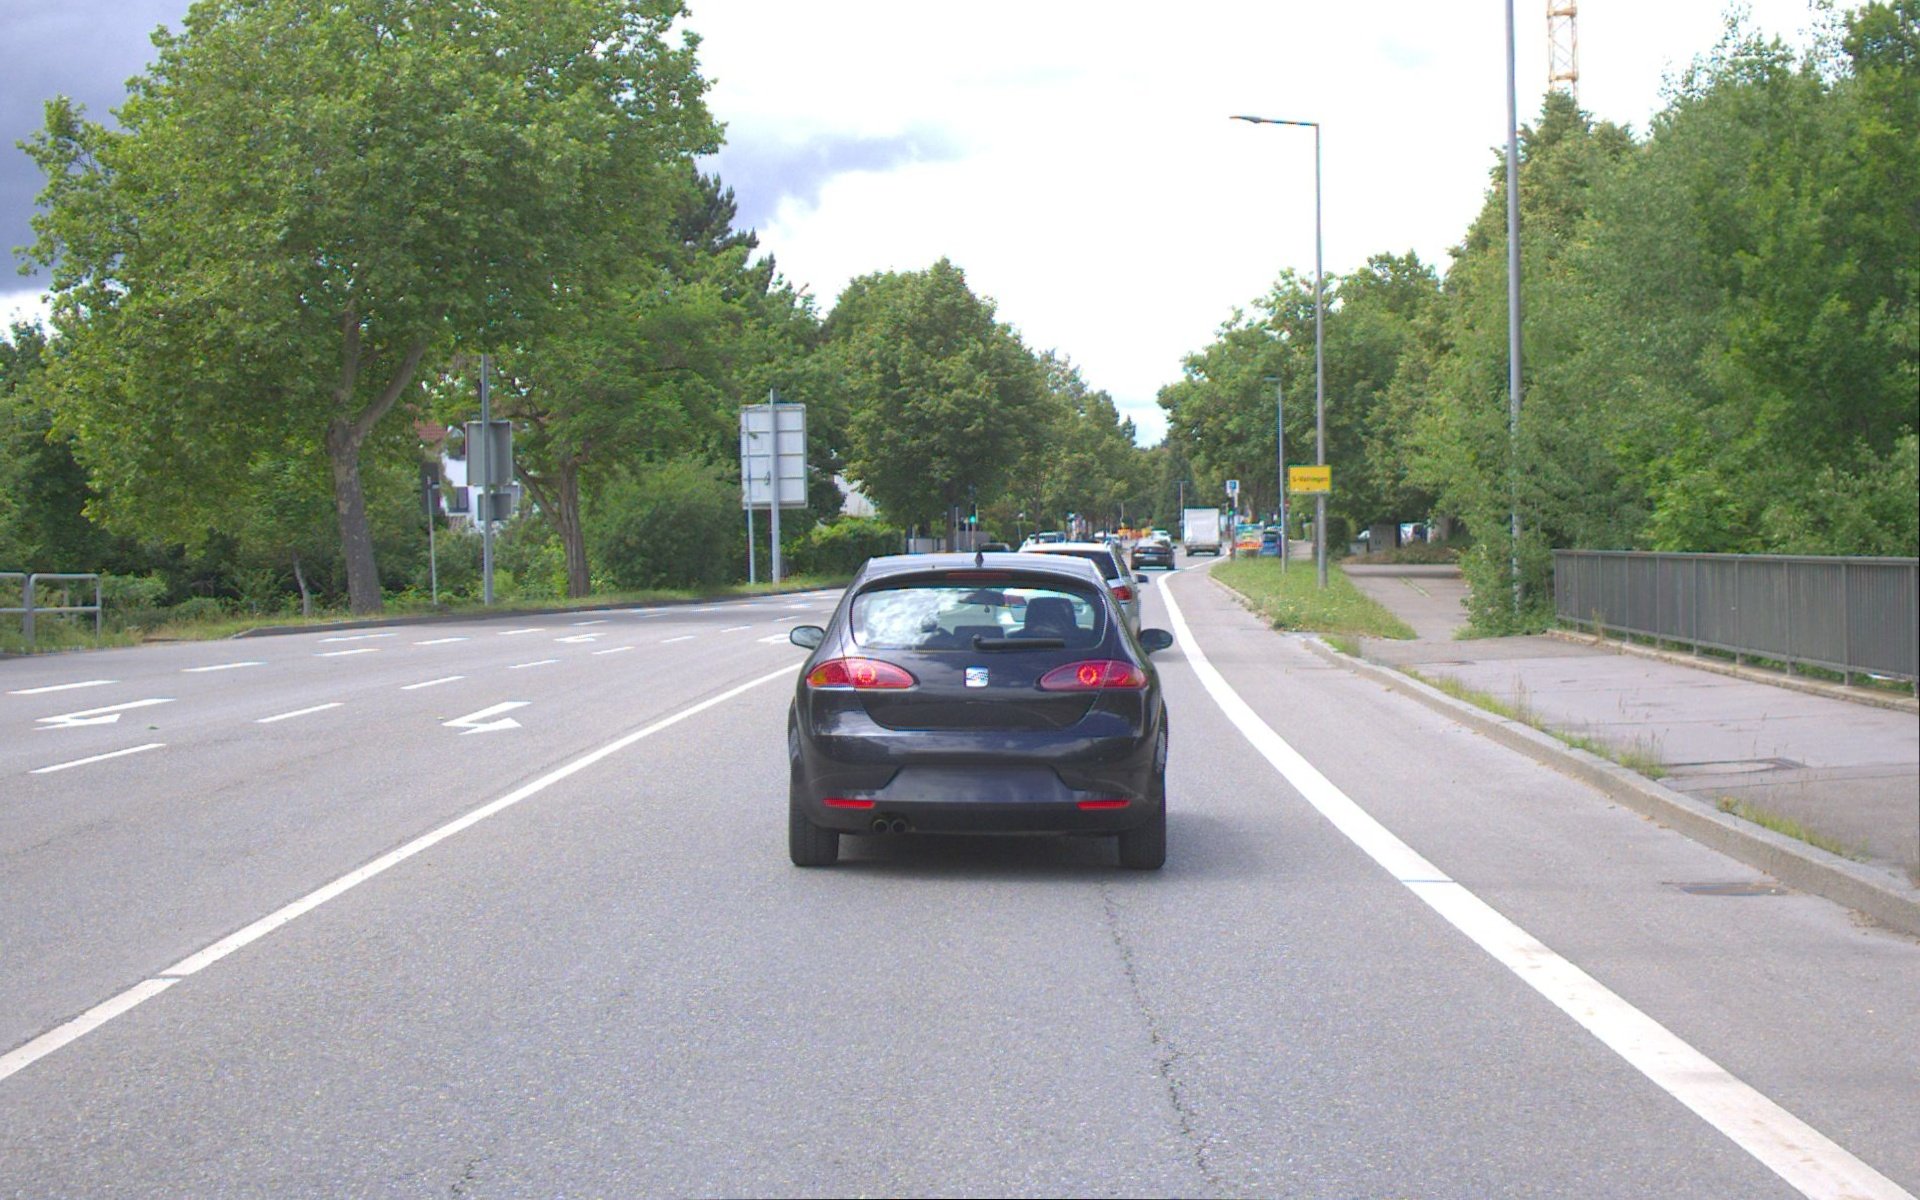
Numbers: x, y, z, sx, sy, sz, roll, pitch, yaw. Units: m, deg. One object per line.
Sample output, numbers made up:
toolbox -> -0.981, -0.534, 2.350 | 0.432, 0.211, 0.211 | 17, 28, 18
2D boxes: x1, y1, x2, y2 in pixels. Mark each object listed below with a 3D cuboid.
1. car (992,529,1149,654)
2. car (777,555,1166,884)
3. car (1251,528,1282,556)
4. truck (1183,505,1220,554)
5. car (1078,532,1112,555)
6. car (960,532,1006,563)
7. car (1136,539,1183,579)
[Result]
car -> 1.453, -0.132, 43.791 | 1.846, 1.504, 3.811 | 1, 1, 4
car -> 0.047, 0.487, 16.701 | 1.663, 1.396, 3.812 | 1, 1, 0
car -> 16.769, -3.157, 187.982 | 1.688, 1.485, 3.354 | -1, 1, 5
truck -> 15.749, -4.540, 223.726 | 2.279, 3.093, 8.509 | 1, 1, 5
car -> 9.920, -4.146, 251.674 | 2.100, 1.501, 5.783 | -3, 1, 5
car -> 1.122, -2.521, 165.897 | 1.718, 1.390, 4.800 | -3, 1, 5
car -> 8.752, -1.825, 150.693 | 1.882, 1.683, 4.213 | -1, 1, 5
